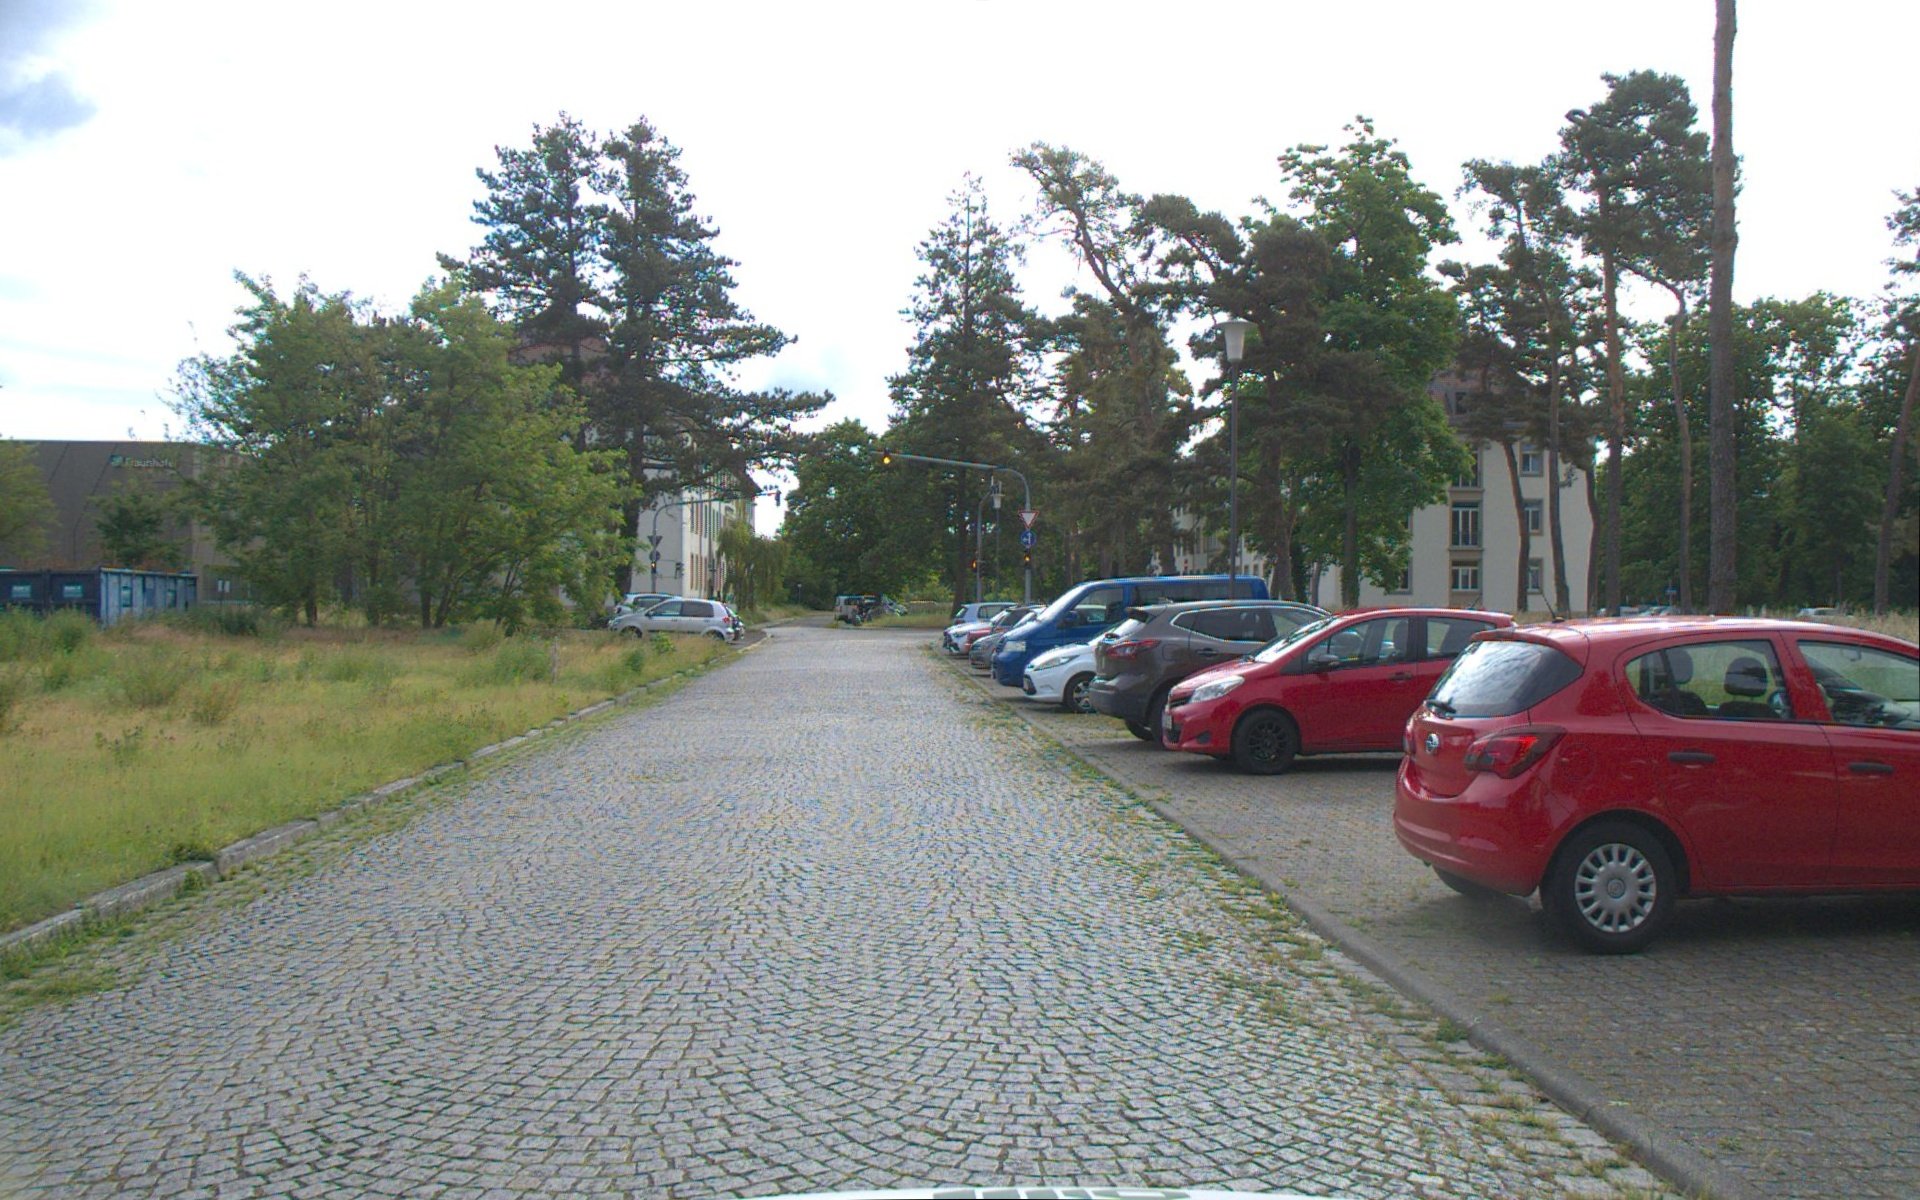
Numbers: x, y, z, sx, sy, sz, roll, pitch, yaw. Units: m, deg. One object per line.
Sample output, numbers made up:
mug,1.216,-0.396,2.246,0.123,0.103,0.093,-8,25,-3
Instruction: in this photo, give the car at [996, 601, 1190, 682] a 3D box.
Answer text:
car,2.599,0.803,32.773,3.601,1.475,1.522,-1,0,-6

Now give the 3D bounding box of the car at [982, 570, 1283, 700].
car,2.802,0.562,27.502,4.662,1.989,1.929,-1,0,-6

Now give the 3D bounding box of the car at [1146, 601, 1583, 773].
car,3.797,0.789,15.930,3.717,1.486,1.750,-1,0,-4

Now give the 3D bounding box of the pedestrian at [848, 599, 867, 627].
pedestrian,-6.191,0.777,99.671,1.015,1.642,0.755,1,-1,-10

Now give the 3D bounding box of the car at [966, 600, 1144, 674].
car,2.007,0.774,35.516,3.601,1.475,1.522,-1,0,-6

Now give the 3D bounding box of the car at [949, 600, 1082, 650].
car,1.712,0.761,51.259,3.894,1.446,1.617,-1,0,-8

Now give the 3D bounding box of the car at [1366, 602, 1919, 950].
car,4.177,0.772,8.354,3.751,1.486,1.777,-1,0,-5

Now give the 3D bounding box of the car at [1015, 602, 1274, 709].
car,2.728,0.812,24.898,3.601,1.475,1.612,-1,0,-6

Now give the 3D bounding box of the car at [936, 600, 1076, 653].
car,1.322,0.772,48.577,3.894,1.446,1.617,-1,0,-8

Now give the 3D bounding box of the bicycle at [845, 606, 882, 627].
bicycle,-5.804,0.996,99.451,2.097,1.236,0.620,1,-1,-10

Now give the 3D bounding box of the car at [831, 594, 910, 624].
car,-6.390,0.625,117.646,5.351,2.049,2.261,1,0,-13

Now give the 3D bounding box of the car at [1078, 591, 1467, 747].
car,3.431,0.733,18.560,3.951,1.580,1.748,-1,0,-6

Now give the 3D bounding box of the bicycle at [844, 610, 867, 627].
bicycle,-6.043,1.078,95.651,0.614,0.961,1.645,1,0,-31

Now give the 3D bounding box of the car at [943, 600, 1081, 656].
car,1.421,0.760,45.724,3.603,1.446,1.521,-1,0,-8

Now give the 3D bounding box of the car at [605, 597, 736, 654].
car,-8.622,0.761,49.467,3.749,1.600,1.562,-1,0,-7

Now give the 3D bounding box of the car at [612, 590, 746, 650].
car,-9.267,0.645,54.836,4.178,1.873,1.742,-1,0,-5

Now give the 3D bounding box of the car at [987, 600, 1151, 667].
car,2.502,0.767,38.544,3.601,1.475,1.522,-1,0,-6

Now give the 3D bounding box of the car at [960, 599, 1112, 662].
car,1.861,0.748,41.210,3.601,1.475,1.522,-1,0,-6

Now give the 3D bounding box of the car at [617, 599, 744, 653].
car,-8.735,0.805,51.880,3.746,1.600,1.563,-1,0,-5
